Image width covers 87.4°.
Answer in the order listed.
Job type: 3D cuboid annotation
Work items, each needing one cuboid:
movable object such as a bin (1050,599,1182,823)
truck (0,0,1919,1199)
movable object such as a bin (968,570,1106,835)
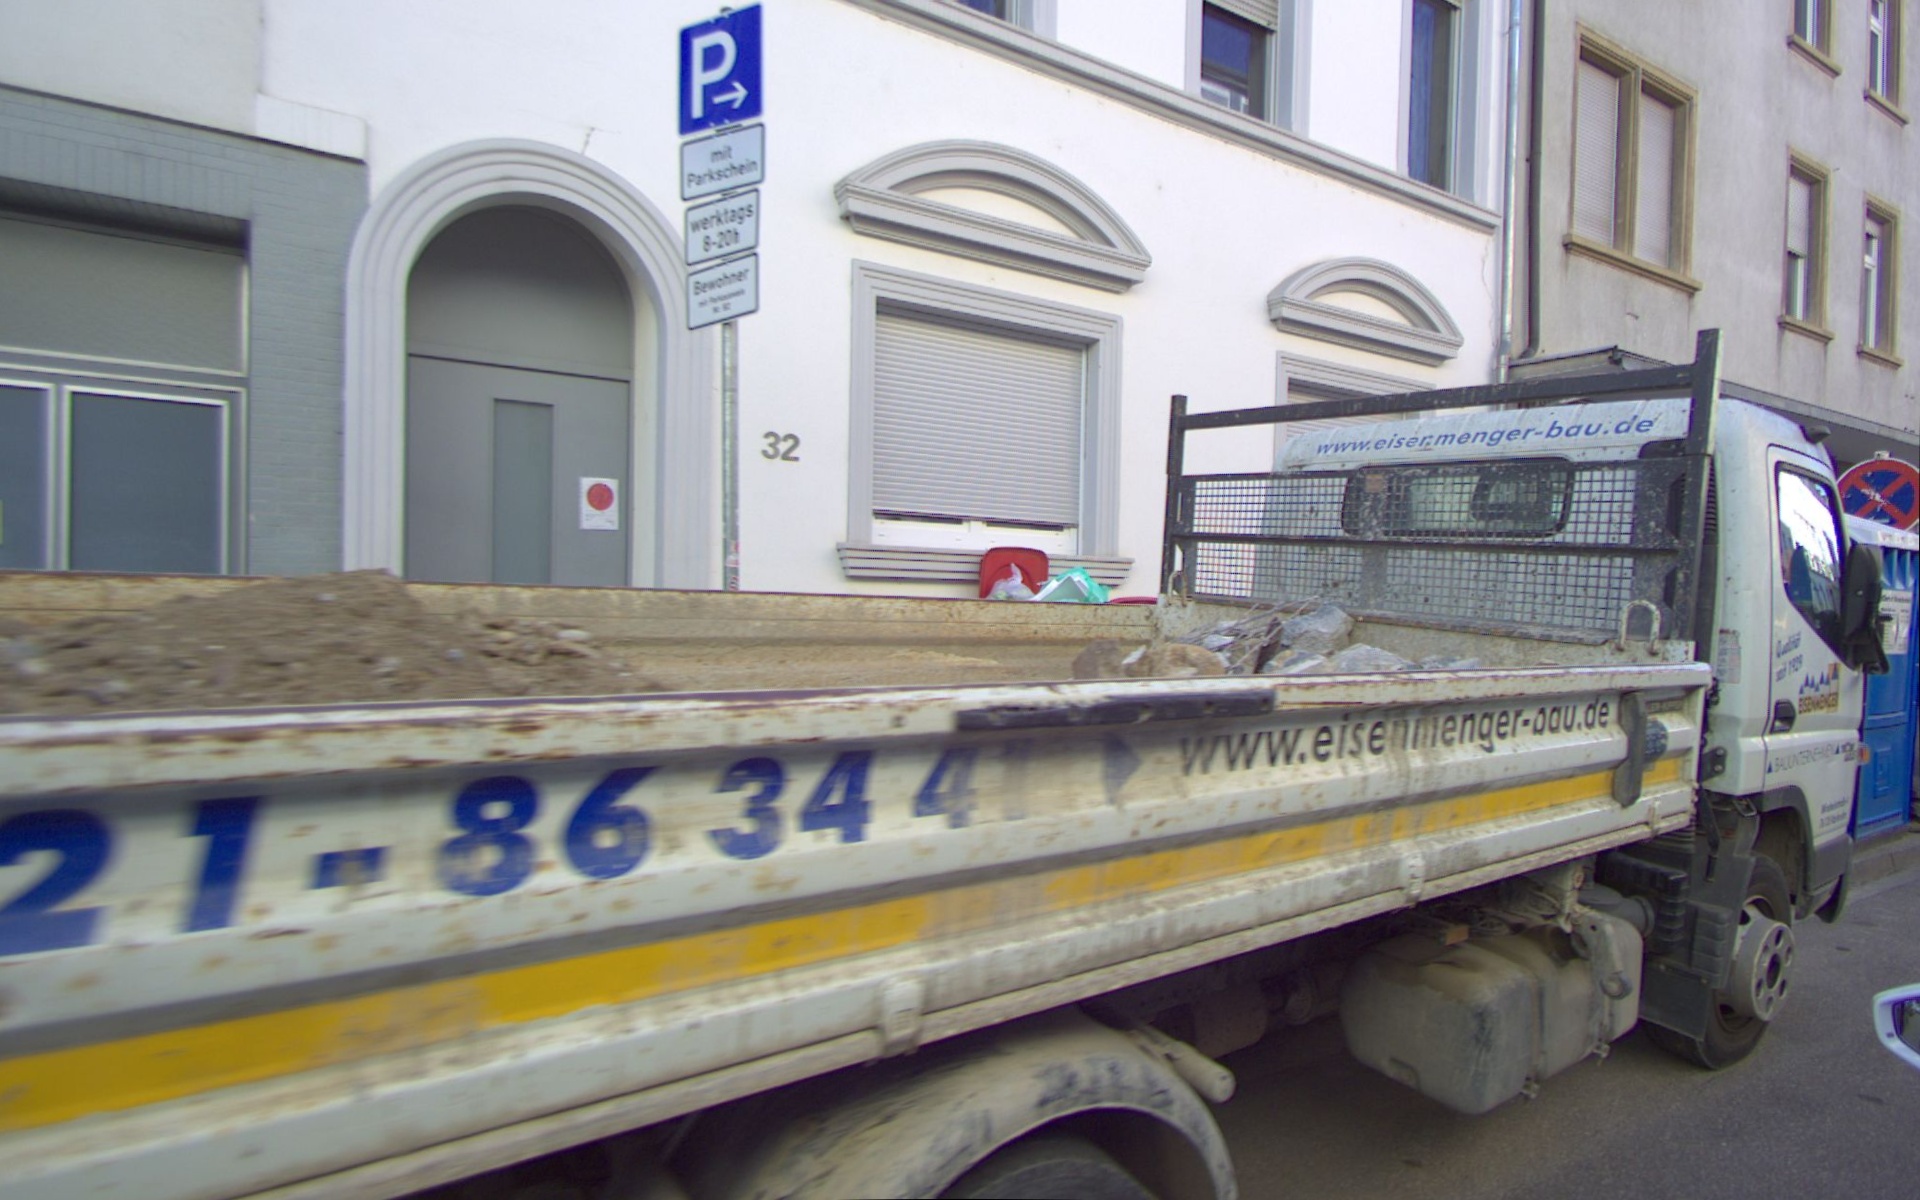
[{"bbox_3d":[1.019,0.691,6.598,0.625,1.378,0.558,1,0,-30],"label":"movable object such as a bin"},{"bbox_3d":[0.615,0.137,2.951,6.189,2.624,2.142,2,0,-36],"label":"truck"},{"bbox_3d":[0.473,0.604,6.302,0.580,1.553,0.636,1,0,-30],"label":"movable object such as a bin"}]
